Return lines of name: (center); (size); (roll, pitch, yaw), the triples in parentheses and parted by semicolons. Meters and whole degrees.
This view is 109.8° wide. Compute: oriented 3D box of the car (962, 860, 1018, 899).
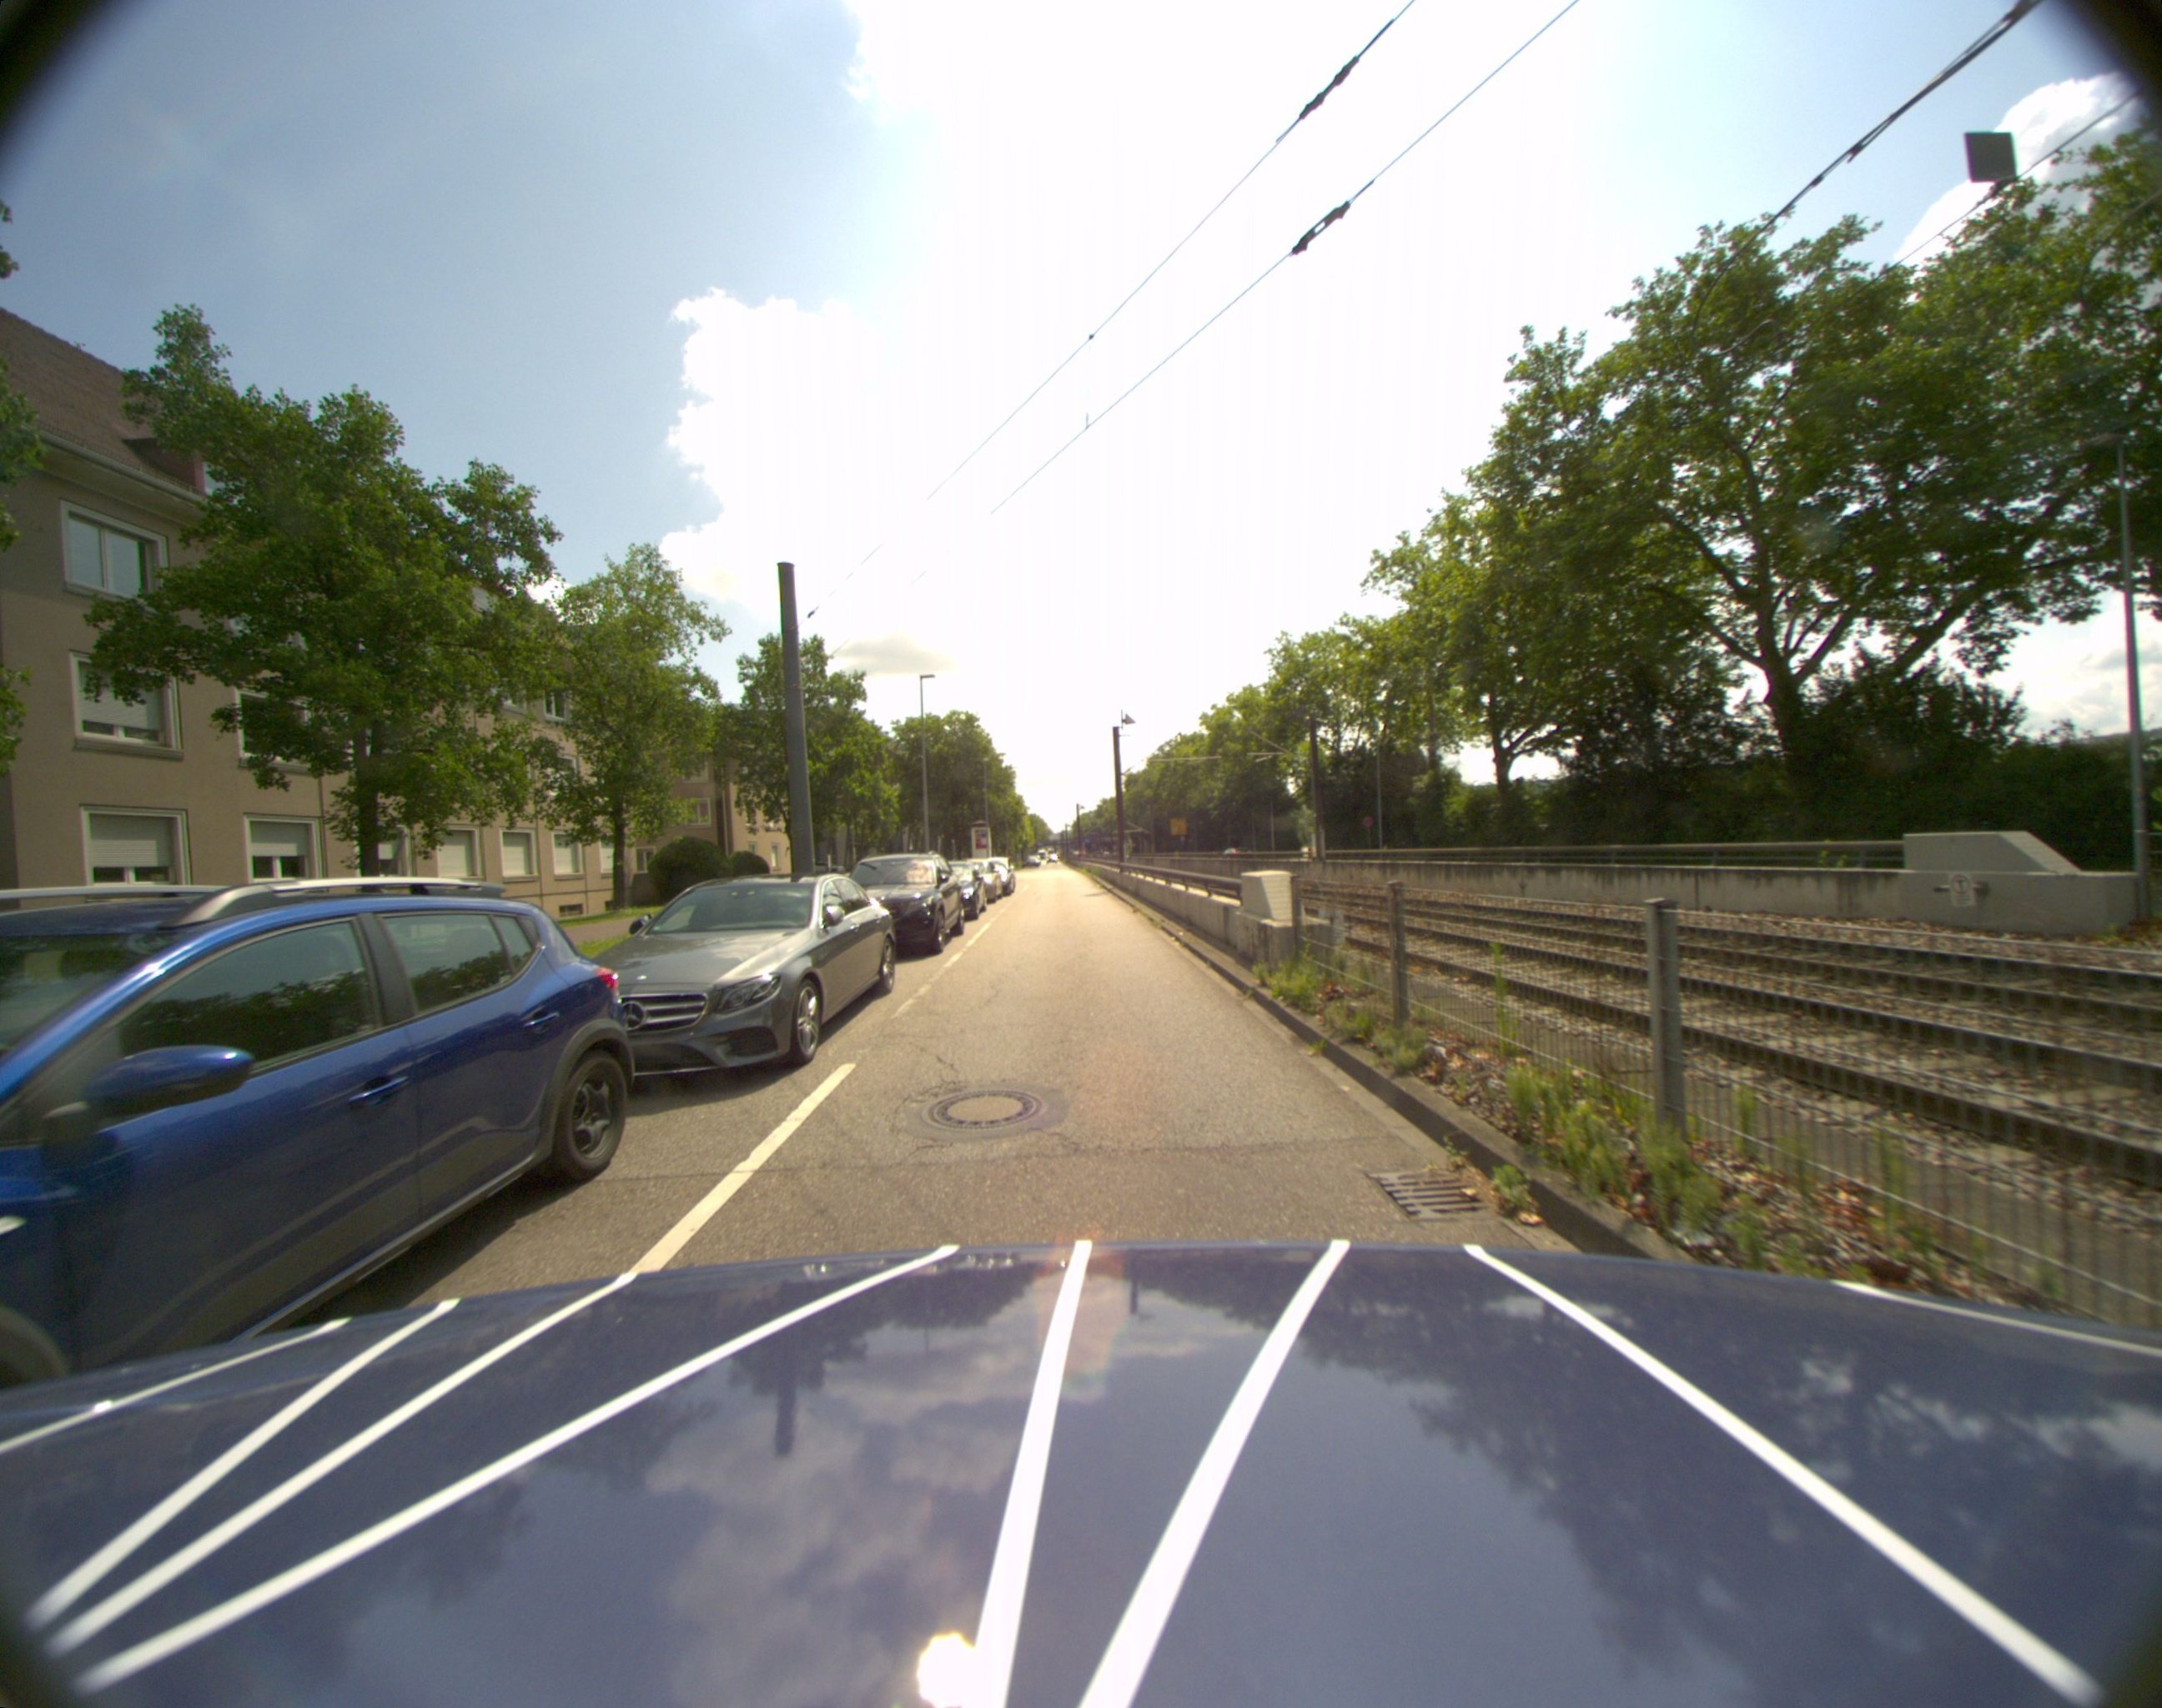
car: (-3.626, 0.989, 30.881); (1.829, 1.304, 4.441); (-3, 1, -2)

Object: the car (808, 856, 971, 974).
car: (-3.174, 0.911, 13.578); (1.821, 1.652, 4.669); (-2, 0, -2)

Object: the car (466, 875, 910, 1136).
car: (-3.071, 1.042, 7.380); (1.821, 1.445, 4.989); (-2, 0, -2)

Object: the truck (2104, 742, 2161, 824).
truck: (41.627, -2.596, 26.128); (8.854, 2.777, 2.706); (-2, 1, 3)

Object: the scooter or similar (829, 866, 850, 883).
scooter or similar: (-19.706, 1.674, 61.929); (1.442, 1.296, 0.548); (-3, 2, 13)

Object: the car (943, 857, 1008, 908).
car: (-3.577, 0.923, 26.310); (1.673, 1.506, 3.850); (-2, 1, 0)

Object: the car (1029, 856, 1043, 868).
car: (-6.504, 1.153, 109.105); (1.809, 1.496, 3.733); (-4, 1, -2)

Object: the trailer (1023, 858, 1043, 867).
trailer: (-6.139, 1.084, 97.187); (2.303, 0.823, 6.818); (-3, 1, -2)

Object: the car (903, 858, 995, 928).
car: (-3.390, 0.948, 20.280); (1.649, 1.521, 4.441); (-2, 1, -1)

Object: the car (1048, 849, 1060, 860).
car: (-4.846, 0.050, 136.001); (1.999, 1.711, 4.303); (-2, 1, -2)

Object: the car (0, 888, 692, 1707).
car: (-3.135, 1.024, 2.330); (1.784, 1.531, 4.418); (-2, 1, -4)

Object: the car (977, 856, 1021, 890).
car: (-3.948, 0.878, 37.069); (1.712, 1.471, 3.788); (-2, 1, -1)

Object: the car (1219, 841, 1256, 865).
car: (11.478, -0.081, 55.999); (1.671, 1.587, 4.297); (-3, 0, -2)
